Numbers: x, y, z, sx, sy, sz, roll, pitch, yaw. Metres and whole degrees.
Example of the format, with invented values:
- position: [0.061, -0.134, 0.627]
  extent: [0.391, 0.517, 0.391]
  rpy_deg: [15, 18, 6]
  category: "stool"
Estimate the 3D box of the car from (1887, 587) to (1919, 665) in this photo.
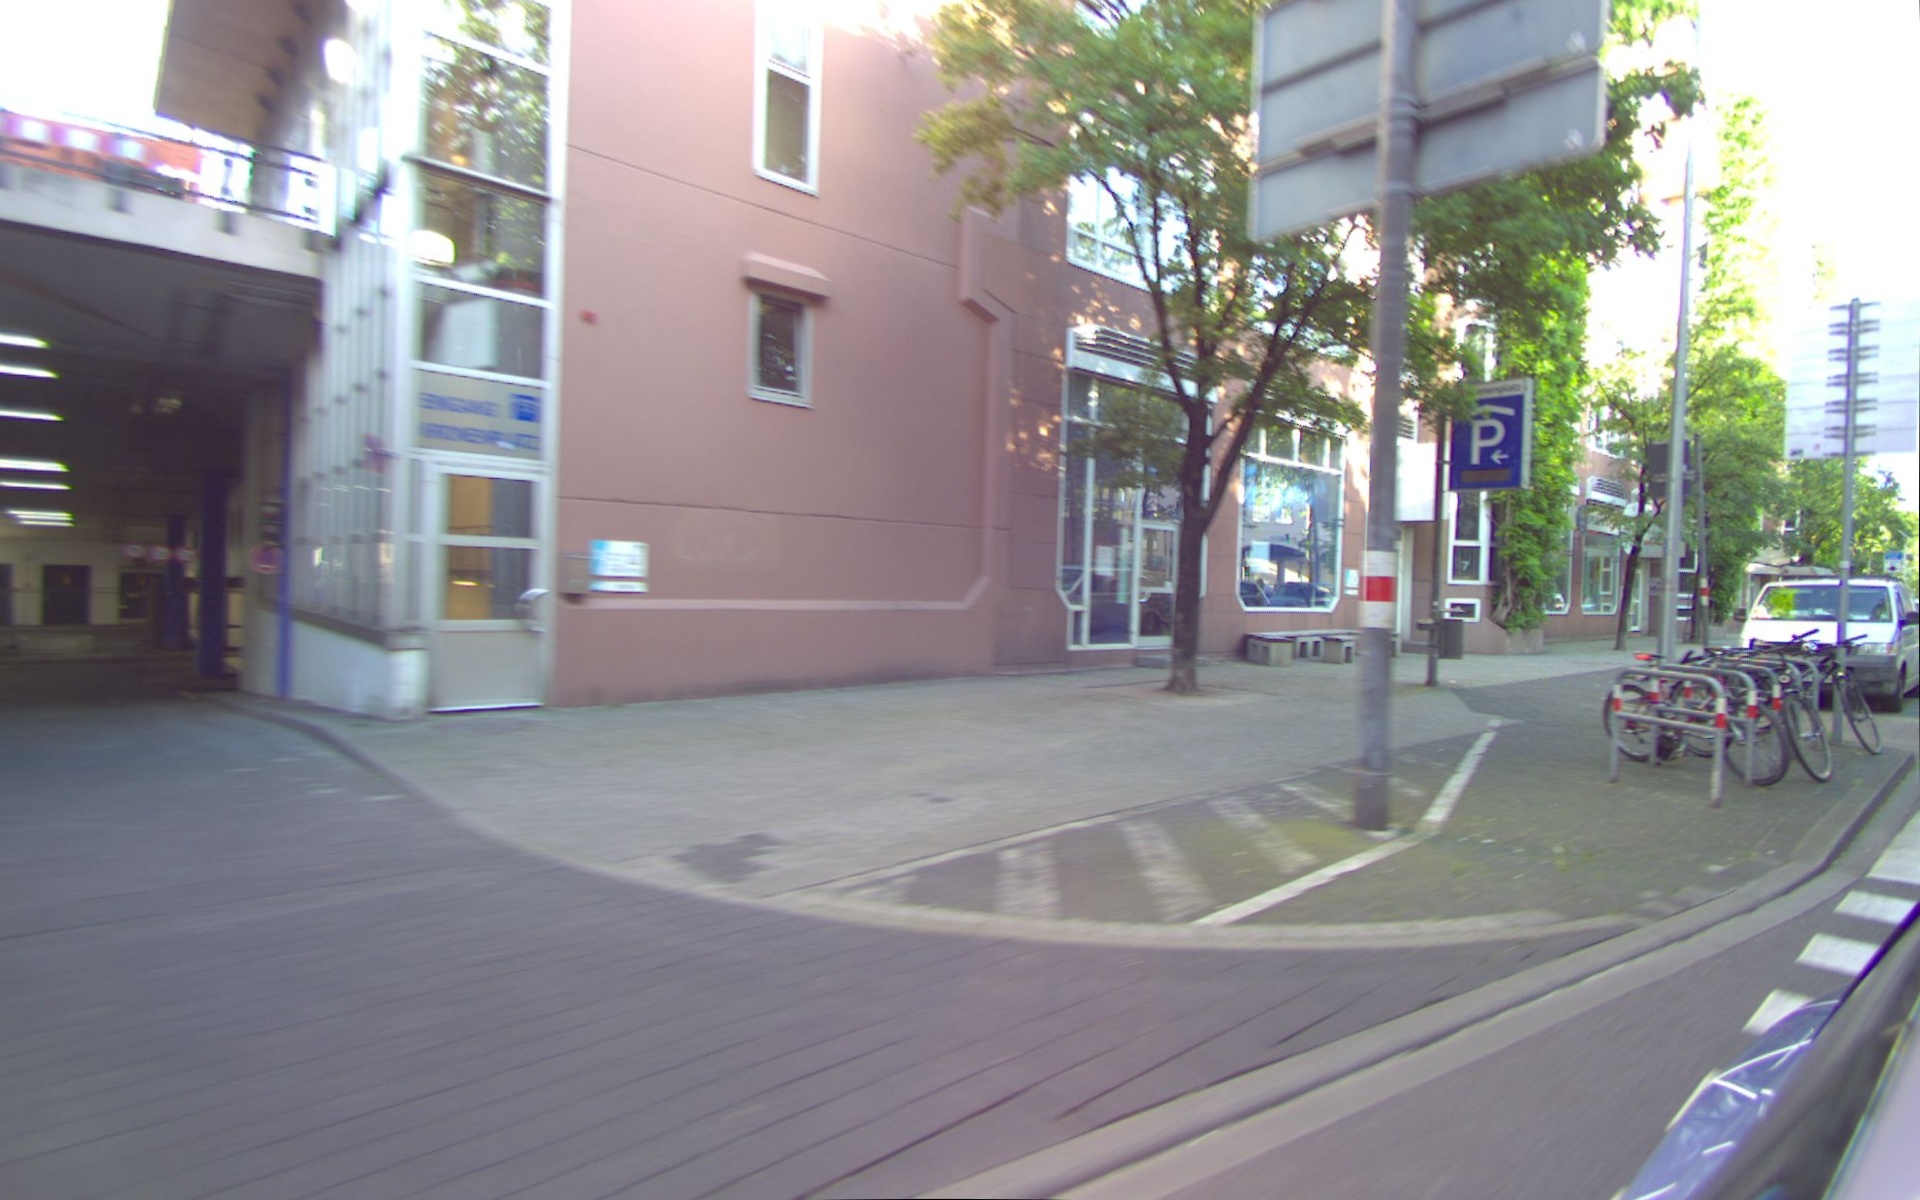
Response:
- position: [22.800, 0.593, 23.291]
  extent: [4.365, 1.691, 1.790]
  rpy_deg: [0, 1, -43]
  category: "car"

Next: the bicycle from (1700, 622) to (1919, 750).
- position: [8.293, 0.789, 9.918]
  extent: [0.500, 1.081, 1.686]
  rpy_deg: [1, 0, -19]
  category: "bicycle"

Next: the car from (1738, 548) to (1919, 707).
- position: [13.925, 0.353, 15.840]
  extent: [5.082, 2.104, 1.921]
  rpy_deg: [0, 1, -43]
  category: "car"

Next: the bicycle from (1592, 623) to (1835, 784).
- position: [5.885, 0.758, 8.032]
  extent: [0.490, 1.081, 1.685]
  rpy_deg: [1, 0, -8]
  category: "bicycle"

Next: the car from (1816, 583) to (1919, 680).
- position: [18.042, 0.560, 19.565]
  extent: [4.128, 1.691, 1.790]
  rpy_deg: [0, 1, -43]
  category: "car"

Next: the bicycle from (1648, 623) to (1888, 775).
- position: [6.653, 0.763, 8.452]
  extent: [0.490, 1.081, 1.685]
  rpy_deg: [1, 0, -8]
  category: "bicycle"

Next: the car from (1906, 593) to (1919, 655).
- position: [26.618, 0.648, 26.906]
  extent: [3.932, 1.599, 1.831]
  rpy_deg: [0, 1, -43]
  category: "car"
